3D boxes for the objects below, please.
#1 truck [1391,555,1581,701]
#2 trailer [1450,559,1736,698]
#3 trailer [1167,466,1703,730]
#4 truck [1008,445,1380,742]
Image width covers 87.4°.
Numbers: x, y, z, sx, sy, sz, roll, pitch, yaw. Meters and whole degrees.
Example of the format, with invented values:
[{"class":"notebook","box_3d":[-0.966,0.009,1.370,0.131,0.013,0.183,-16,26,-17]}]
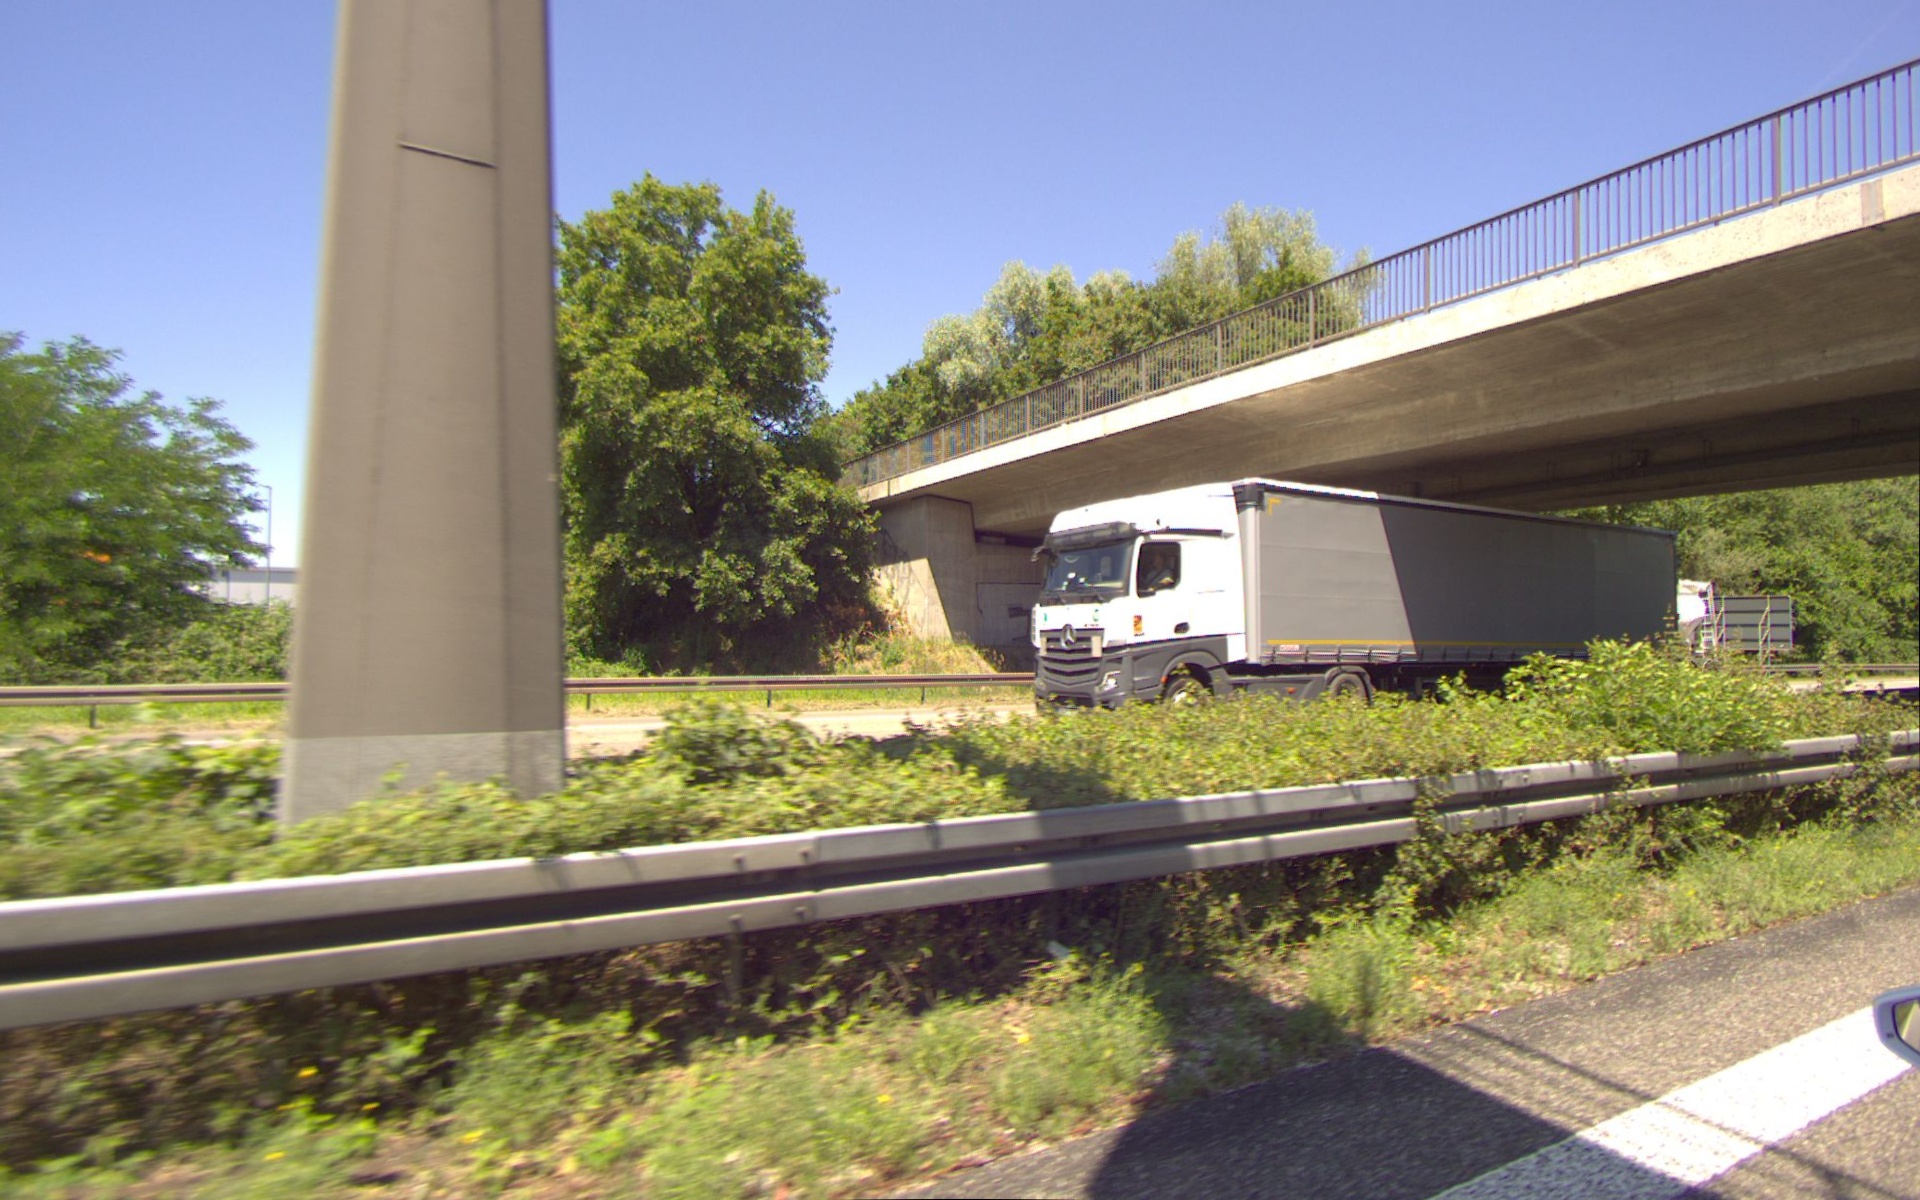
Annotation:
[{"class":"truck","box_3d":[15.032,0.842,28.644,5.190,3.824,2.349,1,-3,-30]},{"class":"trailer","box_3d":[20.289,0.977,31.747,11.932,3.844,2.348,1,-3,-30]},{"class":"trailer","box_3d":[10.462,0.176,20.909,13.673,4.279,2.816,1,-3,-30]},{"class":"truck","box_3d":[4.022,0.025,17.114,5.819,4.266,2.816,1,-3,-30]}]
